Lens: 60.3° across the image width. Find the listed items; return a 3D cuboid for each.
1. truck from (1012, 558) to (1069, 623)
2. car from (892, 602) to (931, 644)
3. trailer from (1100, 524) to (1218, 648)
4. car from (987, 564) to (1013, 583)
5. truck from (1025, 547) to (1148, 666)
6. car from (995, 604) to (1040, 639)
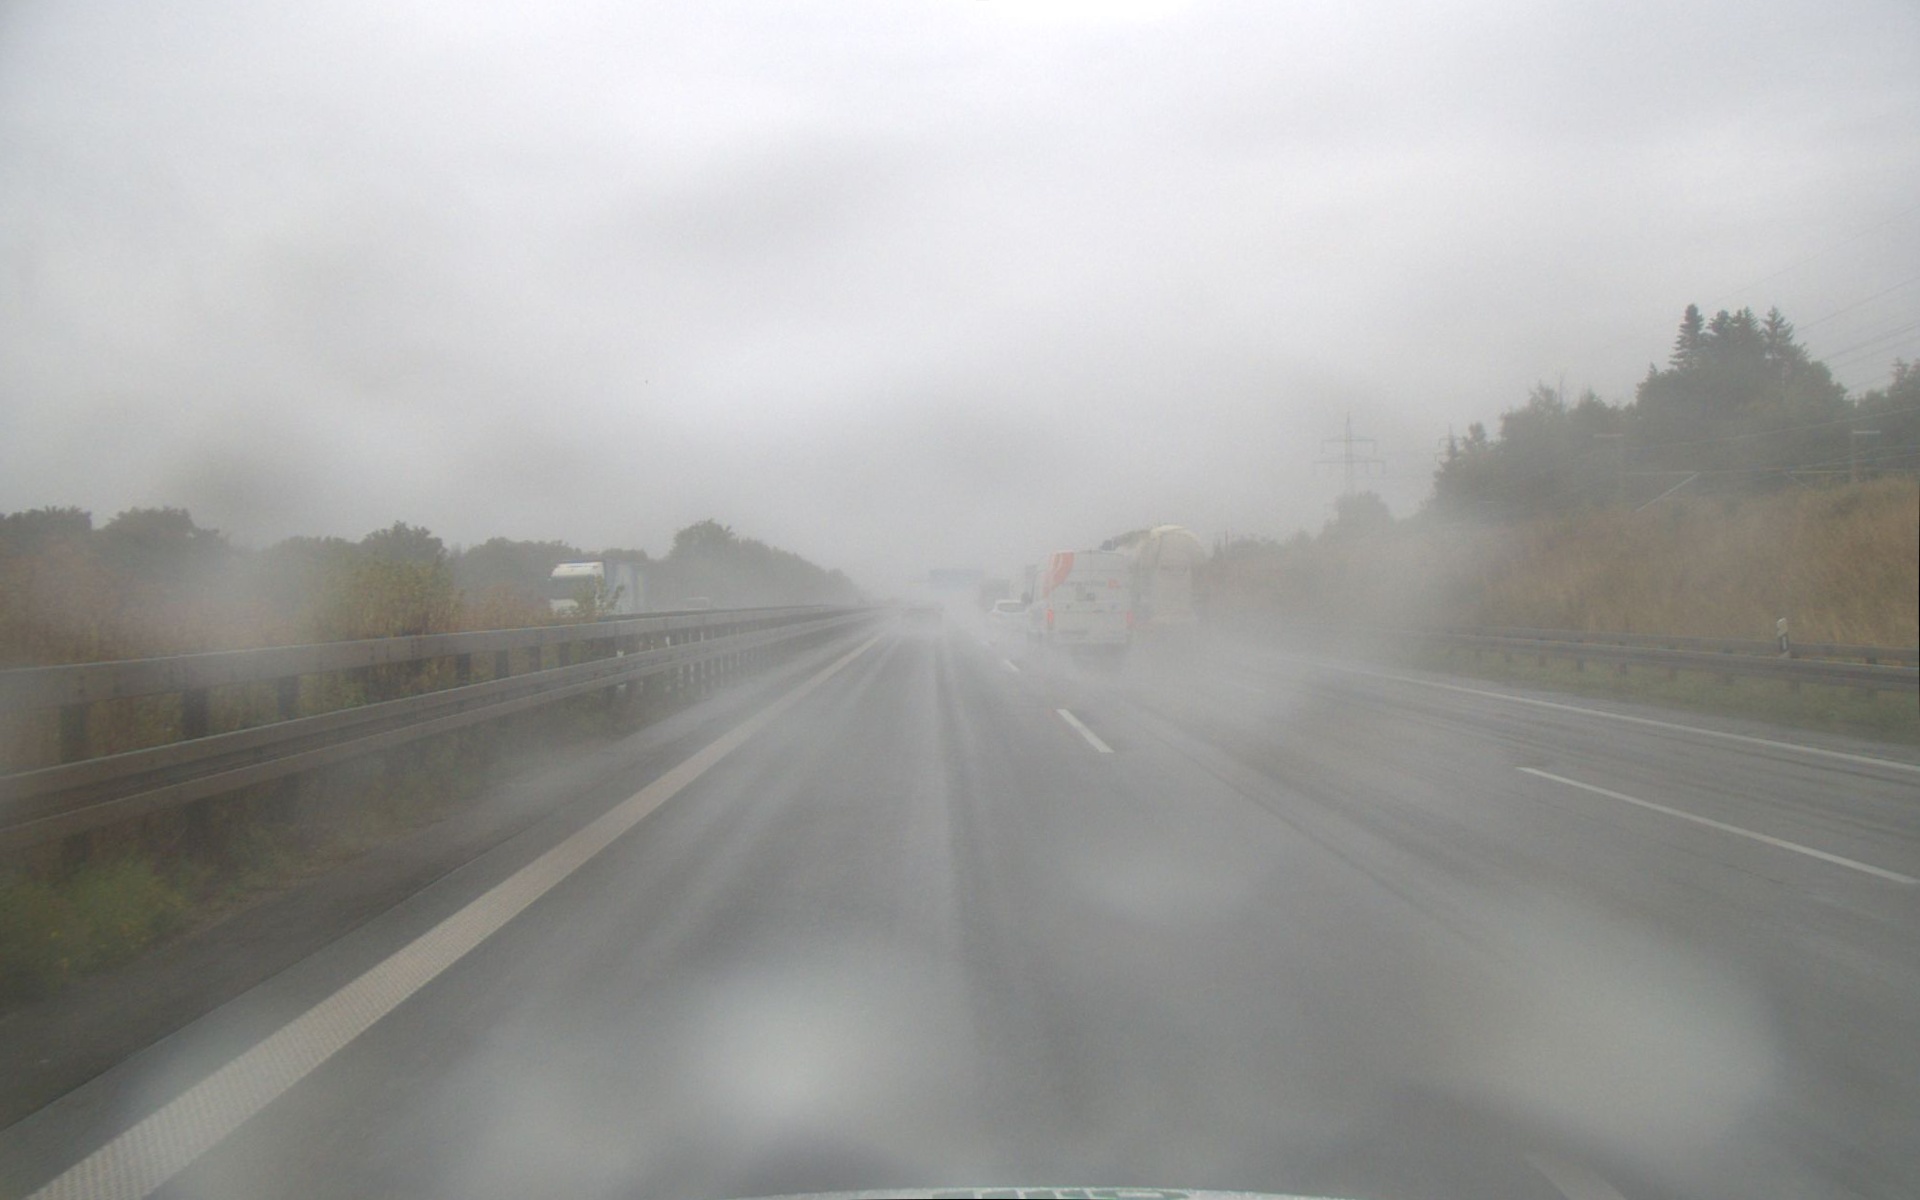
[{"bbox_3d":[6.197,-0.593,130.233,2.979,4.669,16.342,1,-1,-2],"label":"truck"},{"bbox_3d":[-2.205,1.029,76.106,1.667,1.850,3.861,1,0,-1],"label":"car"},{"bbox_3d":[6.835,-0.441,58.558,2.447,3.950,11.062,1,0,-2],"label":"trailer"},{"bbox_3d":[4.544,-3.051,190.591,2.732,2.049,4.991,1,0,-2],"label":"car"},{"bbox_3d":[2.857,0.144,38.753,2.370,2.536,5.559,1,0,-1],"label":"truck"},{"bbox_3d":[2.290,0.853,67.087,1.573,1.361,3.847,1,0,-2],"label":"car"}]
